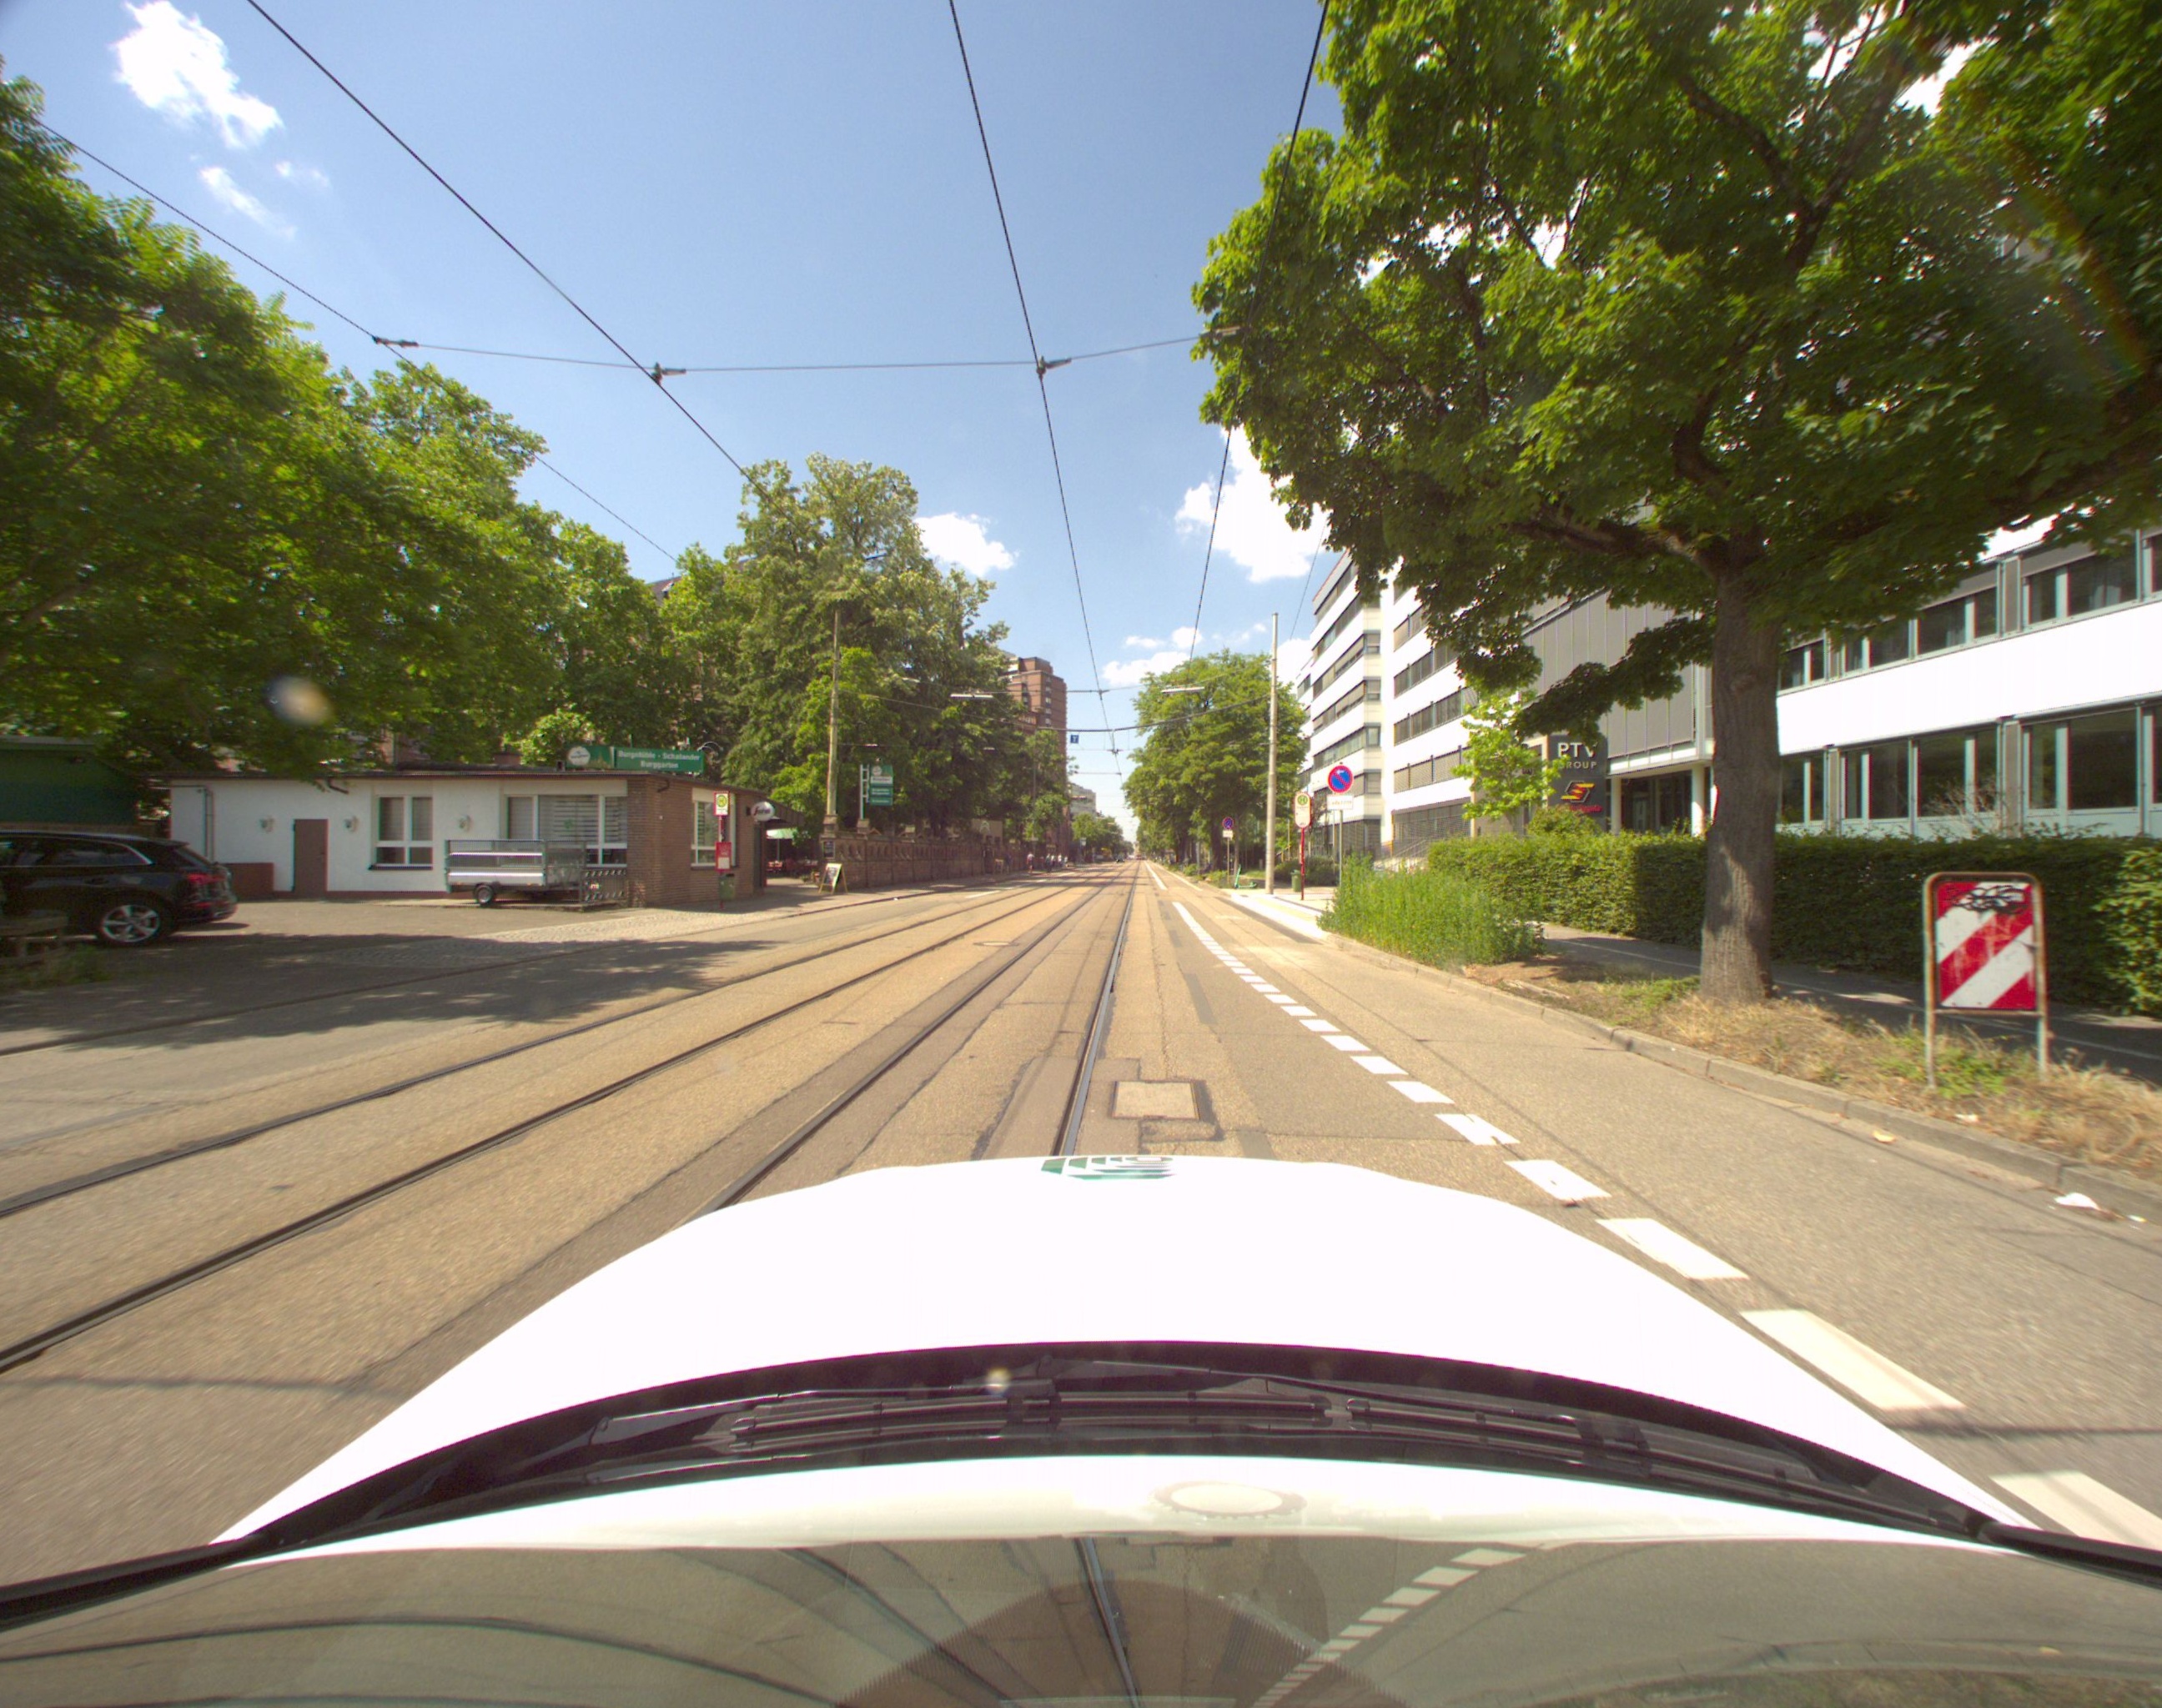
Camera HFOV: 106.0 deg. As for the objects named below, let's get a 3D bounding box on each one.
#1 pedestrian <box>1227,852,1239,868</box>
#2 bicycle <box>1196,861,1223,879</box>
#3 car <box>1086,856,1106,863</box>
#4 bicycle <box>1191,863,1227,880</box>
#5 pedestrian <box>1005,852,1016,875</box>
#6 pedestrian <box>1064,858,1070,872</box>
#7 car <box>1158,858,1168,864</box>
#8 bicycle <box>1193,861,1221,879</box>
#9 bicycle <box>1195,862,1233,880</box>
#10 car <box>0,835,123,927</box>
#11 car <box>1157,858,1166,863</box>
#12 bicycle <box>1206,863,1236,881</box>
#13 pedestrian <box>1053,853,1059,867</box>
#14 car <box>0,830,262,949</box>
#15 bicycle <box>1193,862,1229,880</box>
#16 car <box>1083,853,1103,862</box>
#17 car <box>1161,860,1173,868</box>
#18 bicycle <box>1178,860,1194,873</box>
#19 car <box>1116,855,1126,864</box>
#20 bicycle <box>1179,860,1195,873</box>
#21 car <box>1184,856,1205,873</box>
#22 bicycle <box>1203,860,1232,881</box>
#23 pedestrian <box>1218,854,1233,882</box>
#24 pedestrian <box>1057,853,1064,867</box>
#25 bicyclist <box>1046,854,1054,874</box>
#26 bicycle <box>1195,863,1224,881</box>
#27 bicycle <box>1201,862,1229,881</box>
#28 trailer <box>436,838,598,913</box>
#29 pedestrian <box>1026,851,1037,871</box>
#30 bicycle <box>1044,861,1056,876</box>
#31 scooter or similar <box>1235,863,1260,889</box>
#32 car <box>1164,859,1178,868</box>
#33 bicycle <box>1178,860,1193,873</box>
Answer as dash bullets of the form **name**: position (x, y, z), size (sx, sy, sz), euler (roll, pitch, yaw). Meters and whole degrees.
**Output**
- **pedestrian**: position (16.615, 0.648, 89.204), size (1.211, 1.827, 0.831), euler (0, -1, 0)
- **bicycle**: position (8.660, 1.091, 55.108), size (1.746, 1.166, 0.530), euler (1, -1, 1)
- **car**: position (3.902, 1.439, 214.254), size (4.749, 1.717, 1.984), euler (0, 0, -24)
- **bicycle**: position (9.003, 1.224, 57.208), size (2.496, 1.209, 0.624), euler (0, -1, 8)
- **pedestrian**: position (-5.371, 0.704, 62.190), size (0.740, 1.728, 0.868), euler (1, -1, 4)
- **pedestrian**: position (-1.718, 1.364, 100.757), size (0.740, 1.728, 0.868), euler (1, -1, 3)
- **car**: position (17.601, 1.497, 175.000), size (1.984, 1.310, 4.004), euler (0, 0, 4)
- **bicycle**: position (8.443, 1.083, 54.619), size (1.746, 1.166, 0.530), euler (1, -1, 1)
- **bicycle**: position (9.102, 1.160, 55.802), size (2.496, 1.209, 0.649), euler (0, -1, 8)
- **car**: position (-20.195, 0.449, 14.105), size (4.354, 1.592, 1.888), euler (1, 0, -39)
- **car**: position (18.540, 1.489, 188.019), size (1.984, 1.310, 4.004), euler (0, 0, 4)
- **bicycle**: position (8.560, 1.112, 49.868), size (1.781, 1.102, 0.532), euler (0, -1, 2)
- **pedestrian**: position (-3.115, 0.715, 101.329), size (0.740, 1.728, 0.868), euler (1, -1, 4)
- **car**: position (-15.001, 0.466, 11.743), size (4.356, 1.590, 1.976), euler (1, 0, -42)
- **bicycle**: position (9.220, 1.204, 57.932), size (2.496, 1.209, 0.743), euler (0, -1, 8)
- **car**: position (2.627, 0.849, 181.073), size (4.009, 1.804, 1.982), euler (2, 0, -28)
- **car**: position (15.283, 1.755, 144.196), size (1.984, 1.310, 4.004), euler (0, 0, 4)
- **bicycle**: position (10.394, 1.221, 80.789), size (1.556, 1.241, 0.437), euler (0, -1, 5)
- **car**: position (9.276, 1.256, 188.705), size (1.983, 2.013, 4.007), euler (1, 0, 6)
- **bicycle**: position (10.466, 1.223, 80.199), size (1.556, 1.241, 0.437), euler (0, -1, 5)
- **car**: position (10.239, 0.965, 73.792), size (1.626, 1.501, 4.004), euler (0, 0, 4)
- **bicycle**: position (8.529, 1.049, 51.027), size (1.746, 1.271, 0.530), euler (1, -1, 1)
- **pedestrian**: position (8.984, 0.850, 50.663), size (0.802, 1.715, 0.577), euler (1, -1, -43)
- **pedestrian**: position (-2.546, 0.769, 99.924), size (0.740, 1.728, 0.868), euler (1, -1, 4)
- **bicyclist**: position (-2.583, 0.859, 67.950), size (0.639, 1.679, 0.816), euler (0, -1, 4)
- **bicycle**: position (8.922, 1.224, 56.529), size (1.985, 1.209, 0.663), euler (0, -1, 8)
- **bicycle**: position (8.487, 1.100, 51.612), size (1.746, 1.166, 0.530), euler (1, -1, 1)
- **trailer**: position (-13.669, 0.498, 19.832), size (2.817, 1.704, 1.623), euler (1, 0, 5)
- **pedestrian**: position (-4.384, 0.628, 71.783), size (0.811, 1.770, 0.925), euler (1, -1, 4)
- **bicycle**: position (-2.556, 1.221, 67.839), size (0.698, 1.204, 2.243), euler (-2, 0, 4)
- **scooter or similar**: position (7.718, 1.023, 37.798), size (1.053, 1.156, 0.371), euler (-1, -1, 4)
- **car**: position (13.600, 1.378, 123.035), size (1.984, 1.310, 4.004), euler (0, 0, 4)
- **bicycle**: position (10.431, 1.222, 81.317), size (1.556, 1.241, 0.437), euler (0, -1, 5)
